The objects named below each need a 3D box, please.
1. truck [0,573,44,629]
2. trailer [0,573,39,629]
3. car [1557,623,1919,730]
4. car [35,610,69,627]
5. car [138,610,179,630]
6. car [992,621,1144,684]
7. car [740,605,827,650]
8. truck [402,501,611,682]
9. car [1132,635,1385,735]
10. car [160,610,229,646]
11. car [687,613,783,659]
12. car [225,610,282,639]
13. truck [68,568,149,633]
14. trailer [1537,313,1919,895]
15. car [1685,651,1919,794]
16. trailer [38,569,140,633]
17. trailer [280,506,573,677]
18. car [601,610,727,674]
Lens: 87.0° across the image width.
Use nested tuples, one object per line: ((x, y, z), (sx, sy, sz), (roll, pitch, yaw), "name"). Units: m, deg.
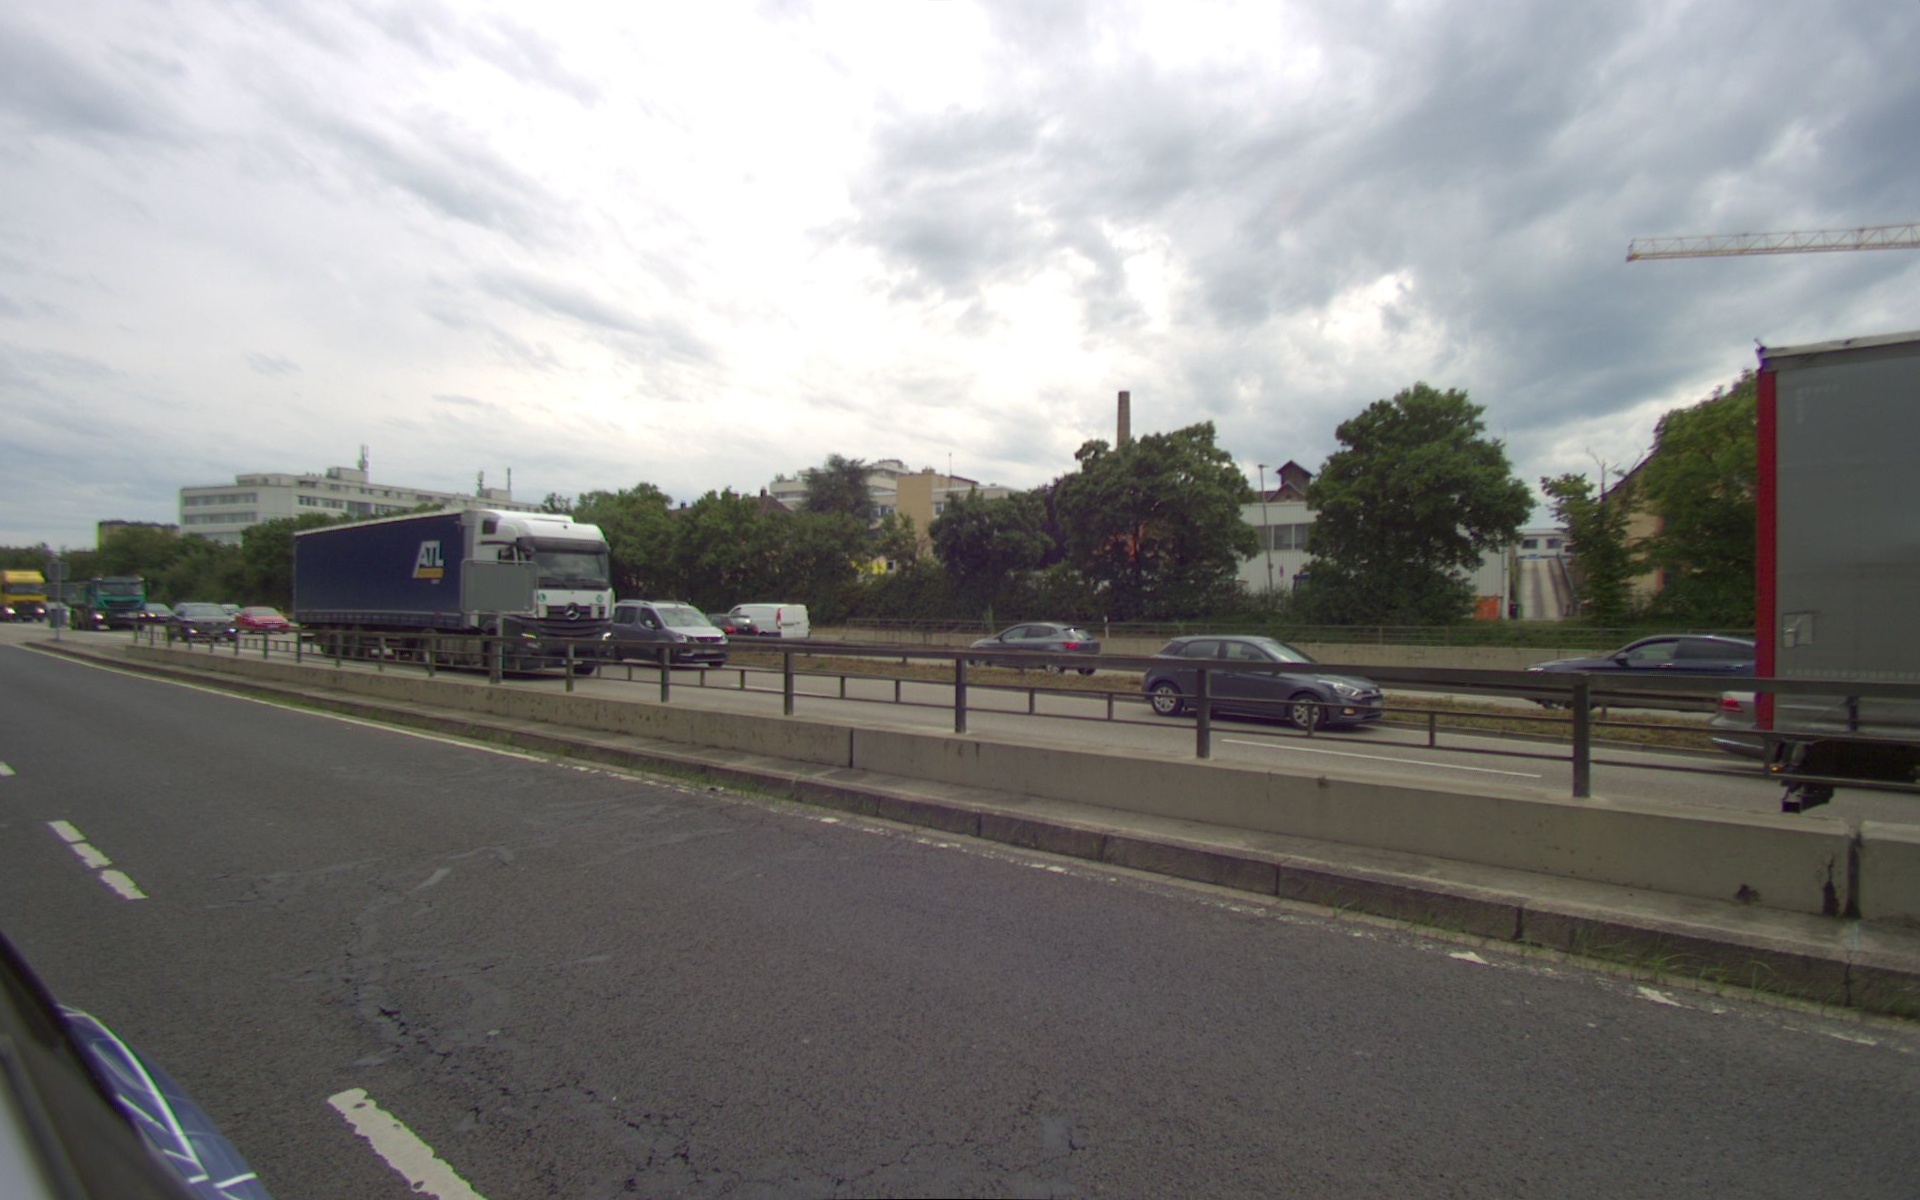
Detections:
((-76.510, 0.099, 81.767), (6.516, 4.377, 2.856), (-1, -2, 41), "truck")
((-83.367, 0.173, 87.794), (19.913, 4.387, 2.860), (-1, -2, 41), "trailer")
((13.376, 1.220, 17.694), (4.837, 1.564, 1.607), (-1, 0, 41), "car")
((-83.874, 1.696, 93.467), (4.420, 1.575, 1.761), (-1, 0, 41), "car")
((-58.337, 1.443, 73.653), (3.998, 1.452, 1.607), (-1, 0, 41), "car")
((2.865, 1.357, 27.356), (3.895, 1.523, 1.607), (-1, 0, 41), "car")
((-7.490, 1.125, 42.805), (3.896, 1.792, 1.606), (-1, 0, 43), "car")
((-11.636, -0.142, 25.739), (6.094, 4.067, 2.498), (-1, -2, 41), "truck")
((5.070, 1.369, 17.458), (3.894, 1.452, 1.607), (0, -2, 41), "car")
((-33.192, 1.197, 43.832), (3.998, 1.452, 1.607), (-1, 0, 41), "car")
((-8.667, 1.338, 38.791), (3.895, 1.682, 1.607), (-1, 0, 41), "car")
((-37.751, 1.270, 54.050), (3.998, 1.452, 1.607), (-1, 0, 41), "car")
((-50.453, 0.092, 59.929), (6.664, 3.663, 2.611), (-1, -2, 41), "truck")
((11.243, 0.015, 4.820), (14.548, 4.067, 2.623), (-1, -2, 41), "trailer")
((10.999, 1.408, 11.846), (3.897, 1.452, 1.606), (-1, 0, 44), "car")
((-56.015, 0.160, 64.810), (16.742, 3.668, 2.580), (-1, -2, 41), "trailer")
((-16.289, -0.117, 29.831), (14.777, 4.067, 2.498), (-1, -2, 41), "trailer")
((-8.435, 1.132, 28.678), (3.895, 1.682, 1.607), (-1, 0, 41), "car")
